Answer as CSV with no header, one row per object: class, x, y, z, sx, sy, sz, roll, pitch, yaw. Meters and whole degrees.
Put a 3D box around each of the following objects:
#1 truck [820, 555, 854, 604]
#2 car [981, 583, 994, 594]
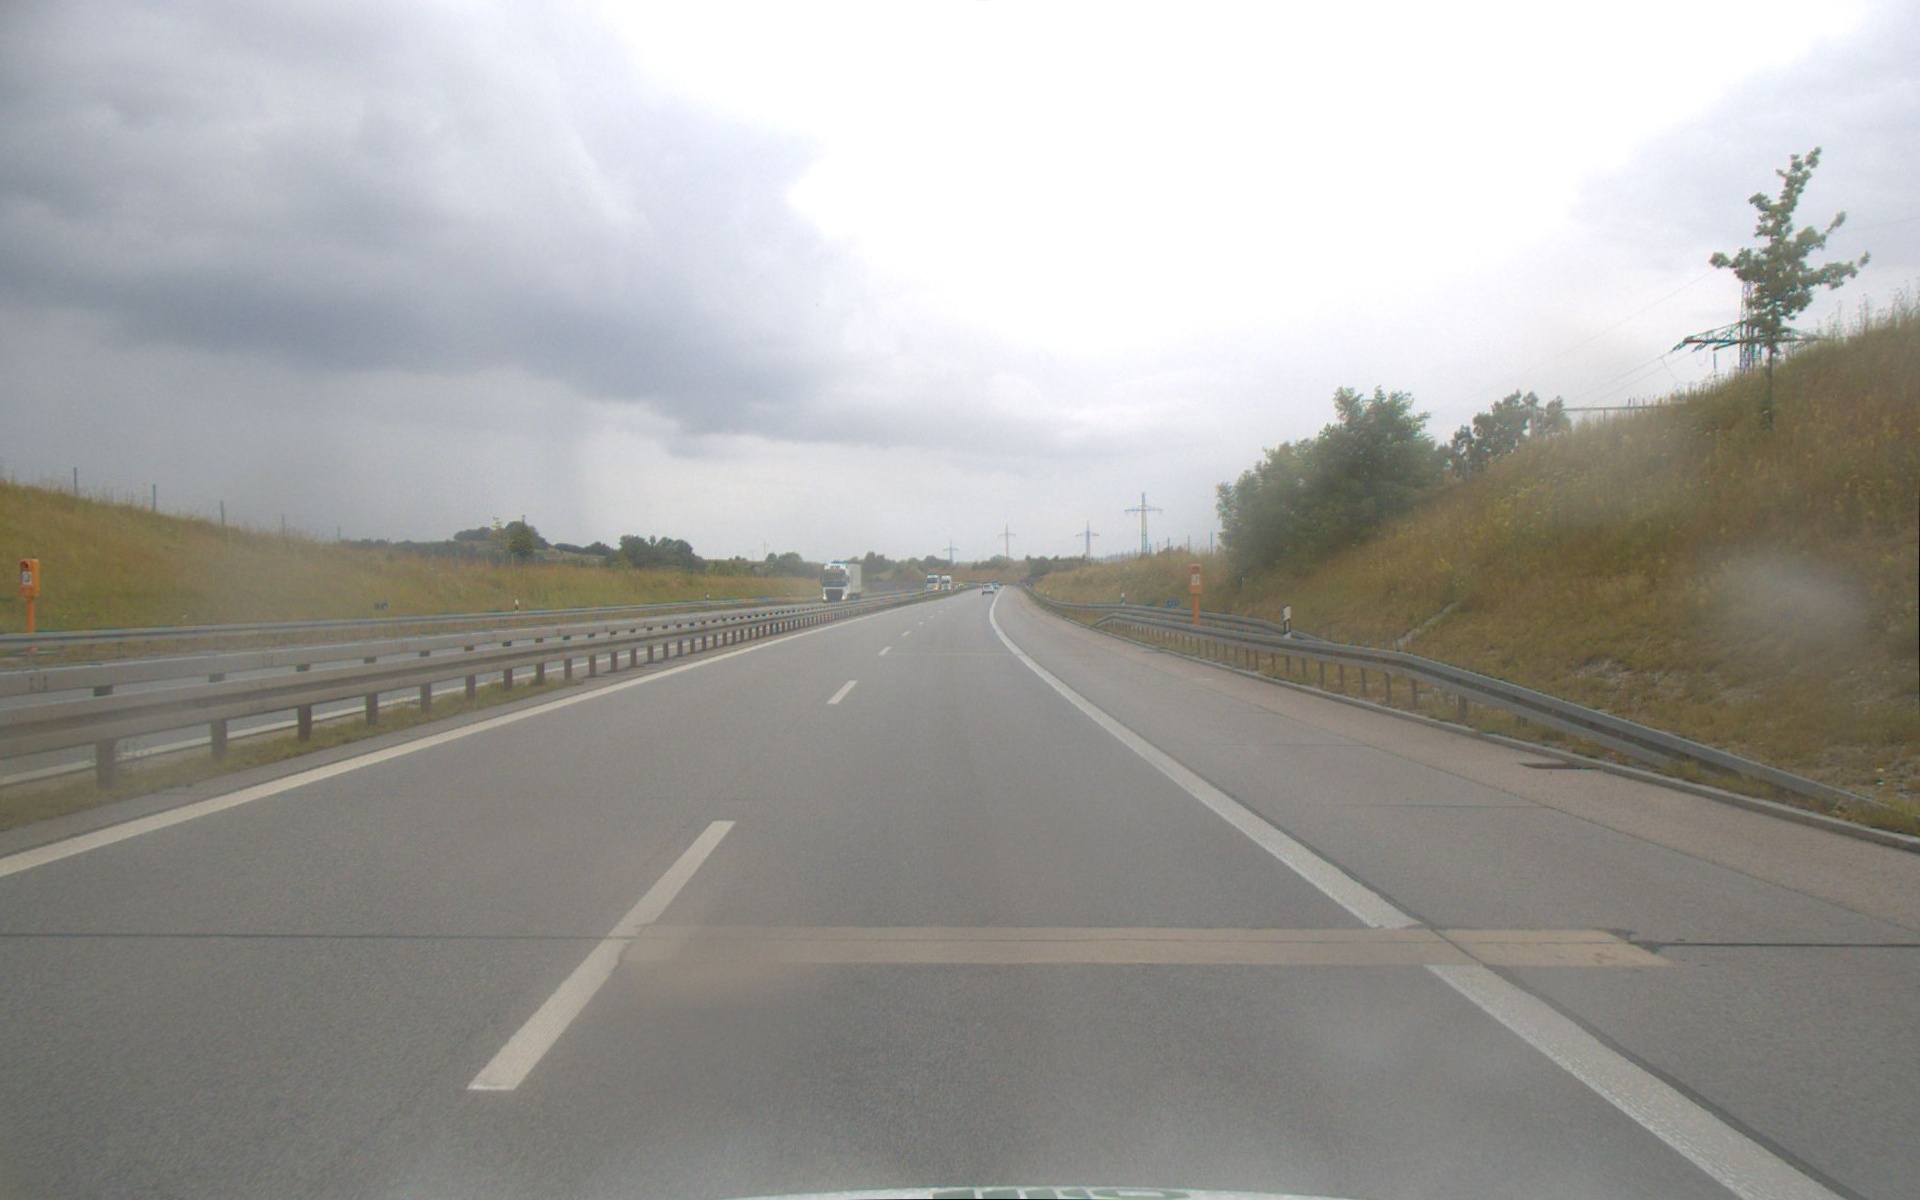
truck,-12.264,-2.025,164.953,2.738,4.728,6.921,-1,0,1
car,4.306,-1.732,257.720,1.915,1.680,4.001,0,0,3
